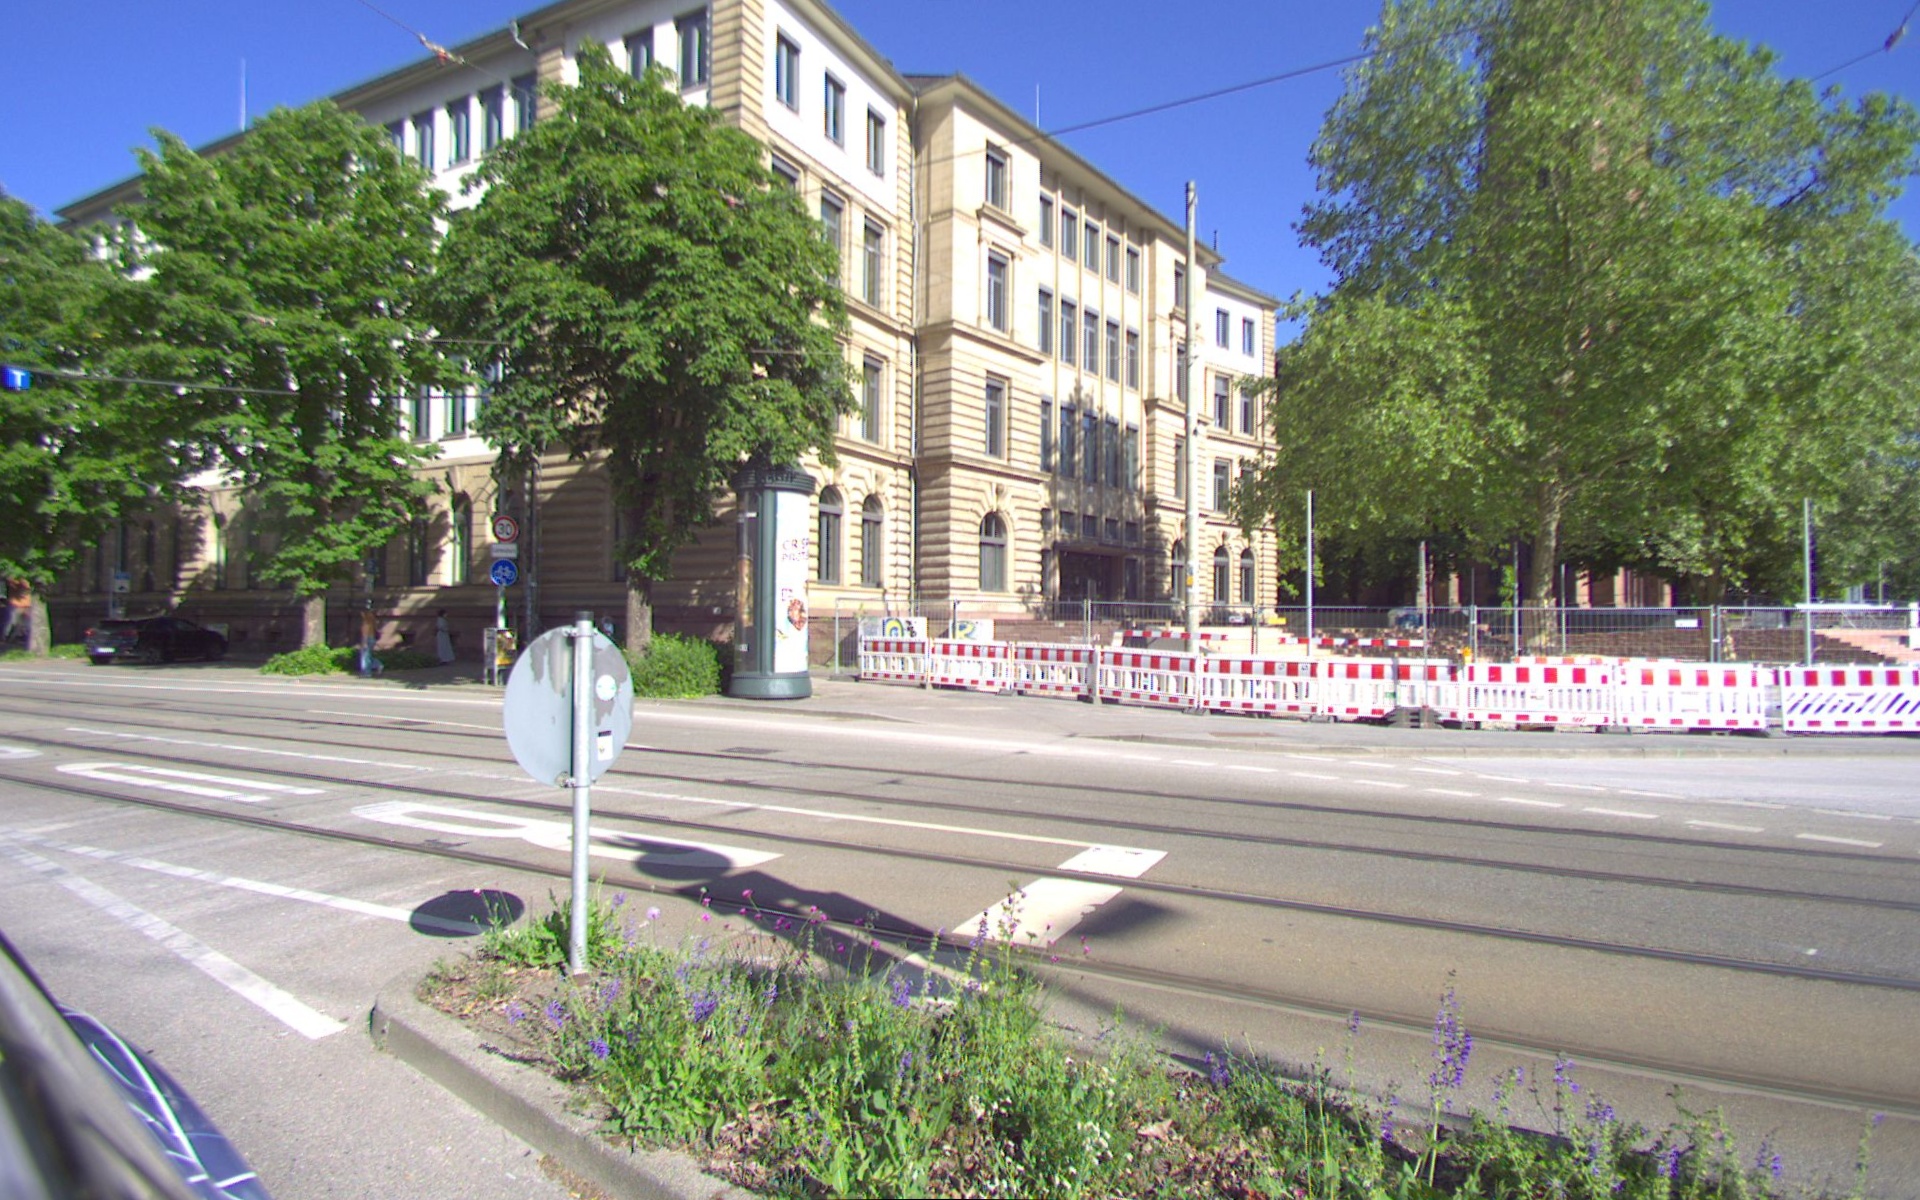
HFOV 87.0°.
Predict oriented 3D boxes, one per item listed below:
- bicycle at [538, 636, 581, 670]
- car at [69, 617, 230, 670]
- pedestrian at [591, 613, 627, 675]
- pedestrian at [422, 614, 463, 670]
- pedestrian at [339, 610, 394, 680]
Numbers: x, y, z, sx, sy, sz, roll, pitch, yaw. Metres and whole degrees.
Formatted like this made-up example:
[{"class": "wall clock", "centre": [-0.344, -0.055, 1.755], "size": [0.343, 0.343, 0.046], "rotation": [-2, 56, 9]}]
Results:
[{"class": "bicycle", "centre": [-11.477, 1.514, 28.974], "size": [1.356, 0.910, 0.394], "rotation": [0, 0, 31]}, {"class": "car", "centre": [-26.106, 1.376, 32.802], "size": [1.895, 1.586, 4.108], "rotation": [0, -2, 1]}, {"class": "pedestrian", "centre": [-9.014, 1.115, 25.986], "size": [0.651, 1.574, 0.573], "rotation": [-1, -2, 29]}, {"class": "pedestrian", "centre": [-15.179, 1.222, 29.695], "size": [0.854, 1.578, 0.667], "rotation": [0, 2, 28]}, {"class": "pedestrian", "centre": [-14.909, 1.151, 25.417], "size": [1.029, 1.682, 0.764], "rotation": [-5, -6, 29]}]
